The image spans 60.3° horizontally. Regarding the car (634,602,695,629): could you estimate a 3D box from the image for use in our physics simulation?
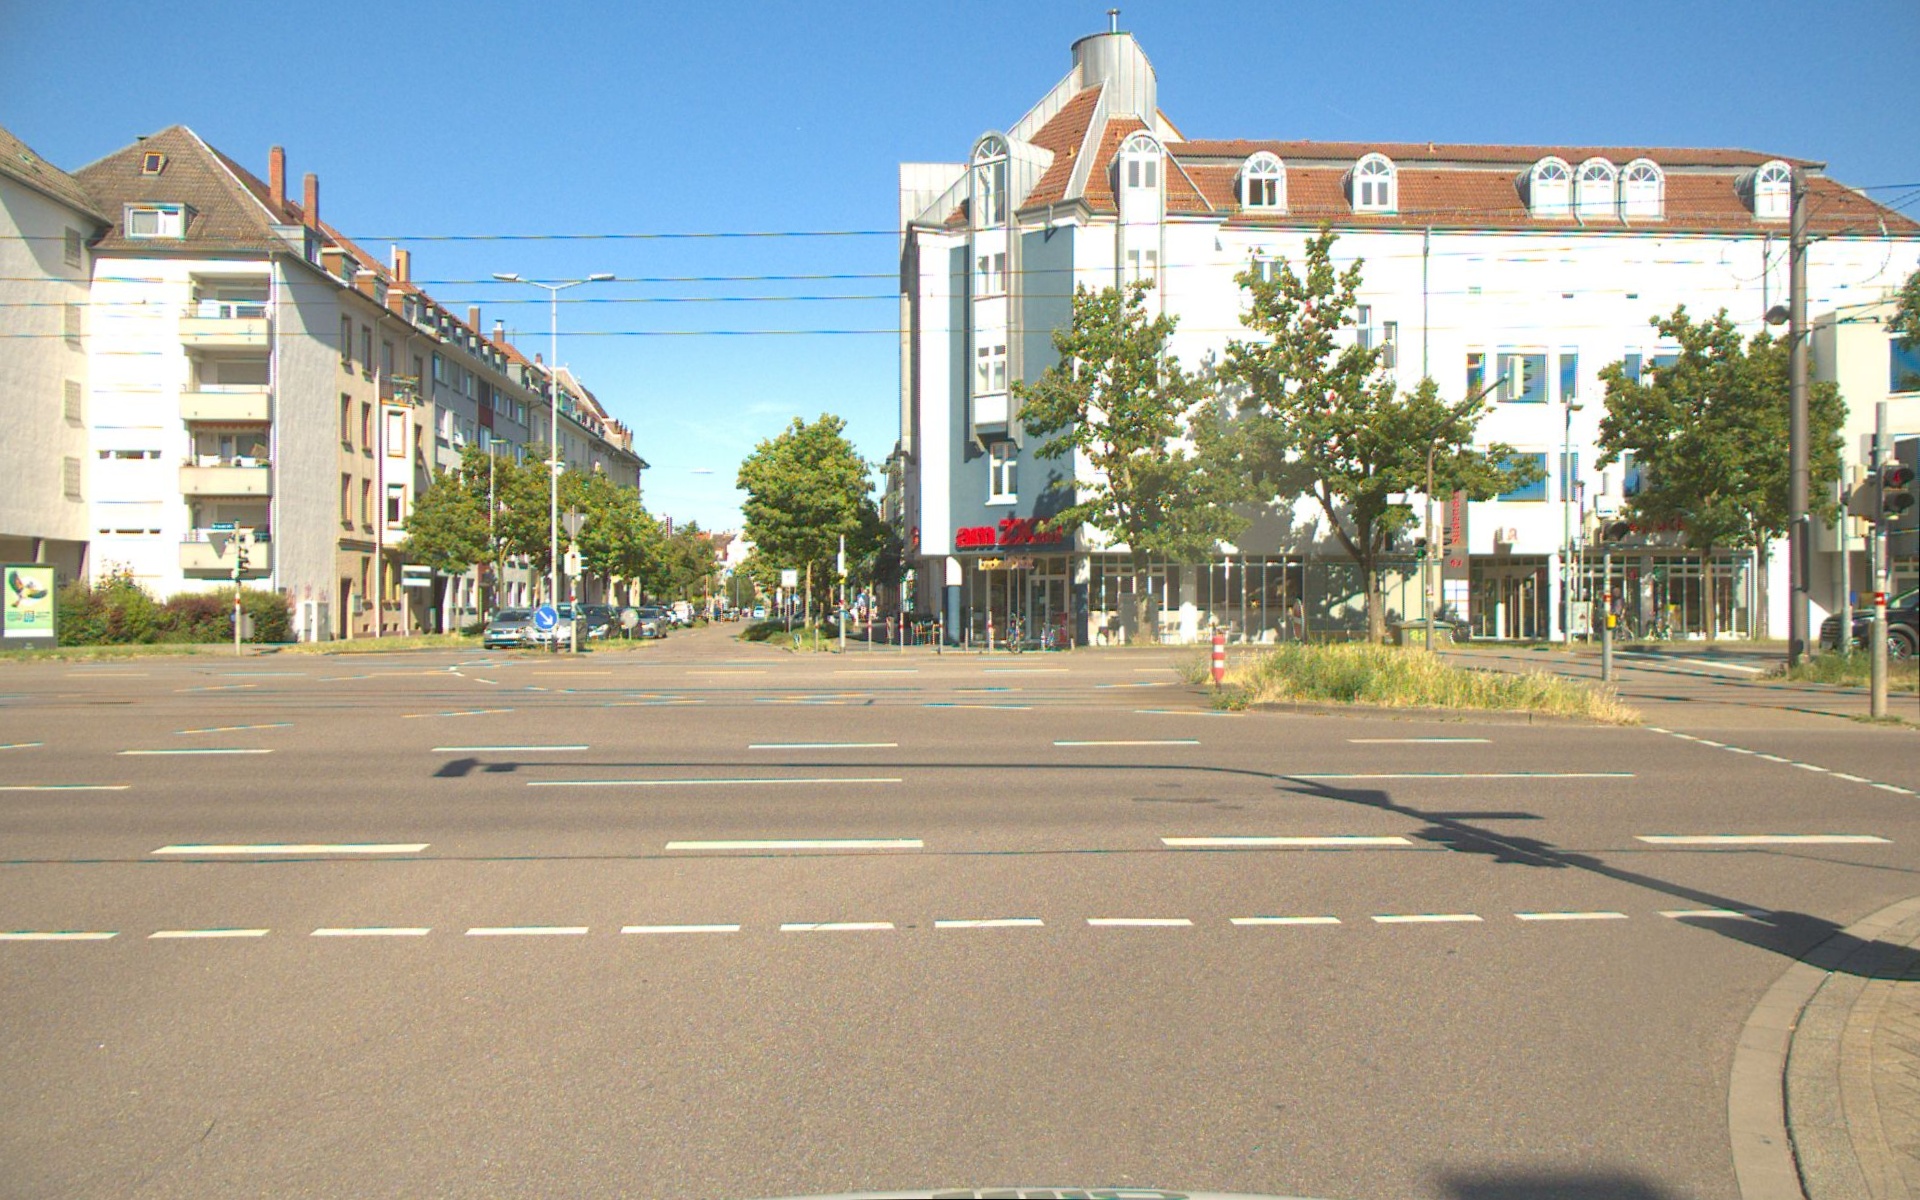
[{"bbox_3d":[-22.737,1.180,127.357,4.418,2.049,1.997,0,-2,-6],"label":"car"}]

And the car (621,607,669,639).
[{"bbox_3d":[-15.176,1.091,79.852,1.654,1.457,4.397,2,-1,-3],"label":"car"}]

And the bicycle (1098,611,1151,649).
[{"bbox_3d":[4.678,0.853,47.085,1.479,1.045,0.473,-1,-1,7],"label":"bicycle"}]

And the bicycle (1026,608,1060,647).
[{"bbox_3d":[2.259,0.742,45.194,0.464,1.045,1.510,0,0,-15],"label":"bicycle"}]

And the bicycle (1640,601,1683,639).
[{"bbox_3d":[22.661,0.636,53.464,0.549,1.203,1.869,-1,0,-2],"label":"bicycle"}]

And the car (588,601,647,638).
[{"bbox_3d":[-14.652,0.840,70.949,1.654,1.457,4.398,2,-1,-1],"label":"car"}]

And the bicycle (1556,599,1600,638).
[{"bbox_3d":[19.941,0.591,53.402,0.549,1.203,1.868,-1,0,-5],"label":"bicycle"}]

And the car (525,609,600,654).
[{"bbox_3d":[-13.999,1.103,58.496,1.654,1.457,4.398,2,-1,-1],"label":"car"}]

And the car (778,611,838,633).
[{"bbox_3d":[-8.935,1.280,97.185,3.499,1.245,1.728,0,-1,-6],"label":"car"}]

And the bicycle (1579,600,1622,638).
[{"bbox_3d":[20.804,0.620,53.765,0.549,1.203,1.868,-1,0,-5],"label":"bicycle"}]

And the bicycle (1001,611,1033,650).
[{"bbox_3d":[1.532,0.812,44.628,0.463,1.045,1.510,0,0,-14],"label":"bicycle"}]

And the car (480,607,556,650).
[{"bbox_3d":[-16.349,1.051,61.405,1.654,1.457,4.398,2,-1,-1],"label":"car"}]

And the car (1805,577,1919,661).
[{"bbox_3d":[19.704,0.356,33.253,4.405,1.638,2.001,-1,0,6],"label":"car"}]

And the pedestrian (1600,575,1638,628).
[{"bbox_3d":[21.915,0.045,55.012,0.970,1.753,0.653,-1,0,-5],"label":"pedestrian"}]

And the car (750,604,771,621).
[{"bbox_3d":[-22.316,1.409,185.149,1.954,1.787,4.516,0,-1,-4],"label":"car"}]

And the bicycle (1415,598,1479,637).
[{"bbox_3d":[15.292,0.558,51.939,1.828,1.203,0.561,-1,0,-8],"label":"bicycle"}]

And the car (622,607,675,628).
[{"bbox_3d":[-21.911,1.229,116.302,3.499,1.441,1.925,0,-1,-6],"label":"car"}]

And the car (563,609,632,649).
[{"bbox_3d":[-14.192,1.120,65.027,1.653,1.457,4.400,2,-1,1],"label":"car"}]
